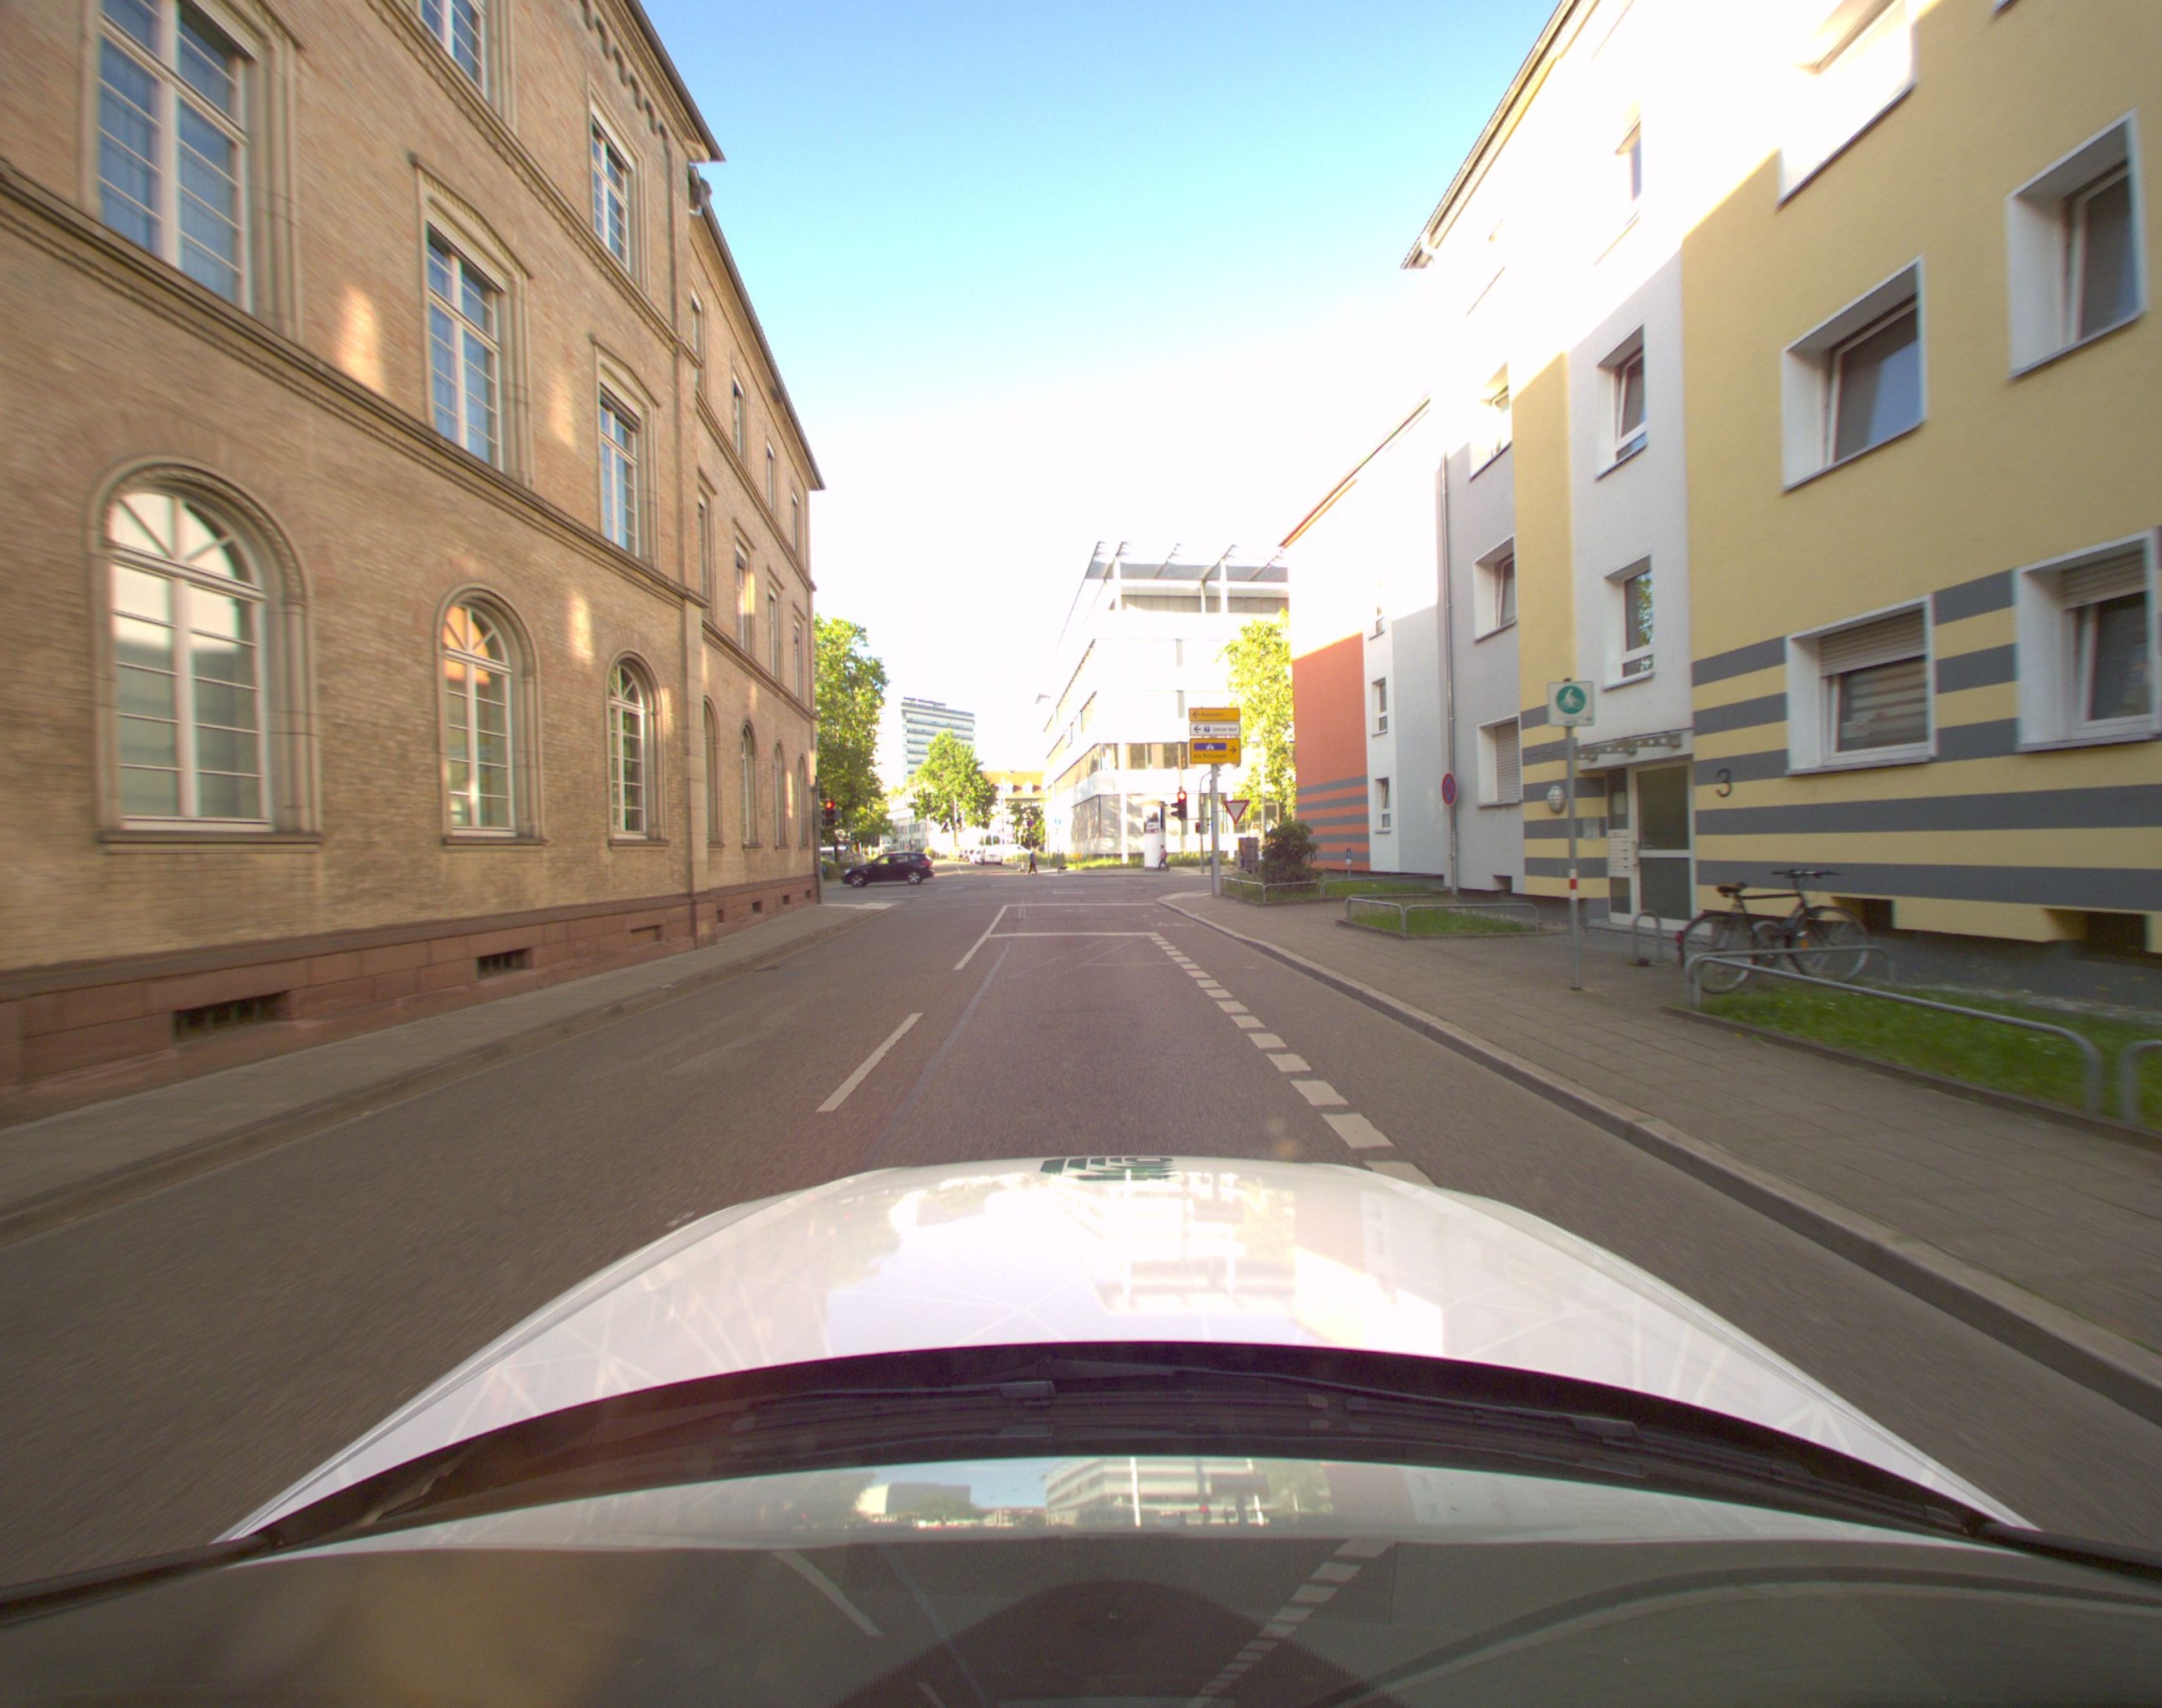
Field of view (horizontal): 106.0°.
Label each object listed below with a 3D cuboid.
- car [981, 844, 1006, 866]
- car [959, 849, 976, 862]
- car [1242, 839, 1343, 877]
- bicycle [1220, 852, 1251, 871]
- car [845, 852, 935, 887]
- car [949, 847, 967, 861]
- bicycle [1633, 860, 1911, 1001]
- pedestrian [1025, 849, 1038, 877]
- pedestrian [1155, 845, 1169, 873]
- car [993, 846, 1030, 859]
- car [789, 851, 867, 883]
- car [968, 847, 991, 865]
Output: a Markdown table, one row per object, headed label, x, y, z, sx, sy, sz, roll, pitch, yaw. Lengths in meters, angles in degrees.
| label | x | y | z | sx | sy | sz | roll | pitch | yaw |
| --- | --- | --- | --- | --- | --- | --- | --- | --- | --- |
| car | -8.229 | 0.055 | 76.044 | 2.067 | 1.963 | 4.224 | -2 | 0 | -9 |
| car | -13.563 | 0.196 | 97.238 | 1.705 | 1.464 | 4.221 | -2 | 0 | -12 |
| car | 11.063 | 0.198 | 42.753 | 4.755 | 1.707 | 1.795 | -3 | 0 | -7 |
| bicycle | 9.108 | 0.447 | 48.147 | 0.467 | 1.049 | 1.892 | -2 | 0 | -43 |
| car | -9.178 | 0.726 | 39.479 | 3.982 | 1.525 | 1.865 | -1 | 0 | -6 |
| car | -16.180 | -0.007 | 106.987 | 2.102 | 1.658 | 4.457 | -2 | 0 | -12 |
| bicycle | 5.998 | 0.639 | 7.119 | 1.939 | 1.061 | 0.635 | -3 | 0 | -4 |
| pedestrian | -3.076 | 0.552 | 50.813 | 0.653 | 1.736 | 0.809 | -2 | 0 | -12 |
| pedestrian | 4.669 | 0.306 | 47.058 | 0.710 | 1.599 | 0.617 | -2 | 0 | -2 |
| car | -9.742 | -0.200 | 114.367 | 4.894 | 1.872 | 1.988 | 0 | -1 | -18 |
| car | -15.358 | 0.776 | 49.639 | 4.224 | 1.777 | 1.899 | -2 | 0 | -10 |
| car | -10.954 | 0.224 | 87.914 | 1.949 | 1.795 | 4.218 | -2 | 0 | -13 |
